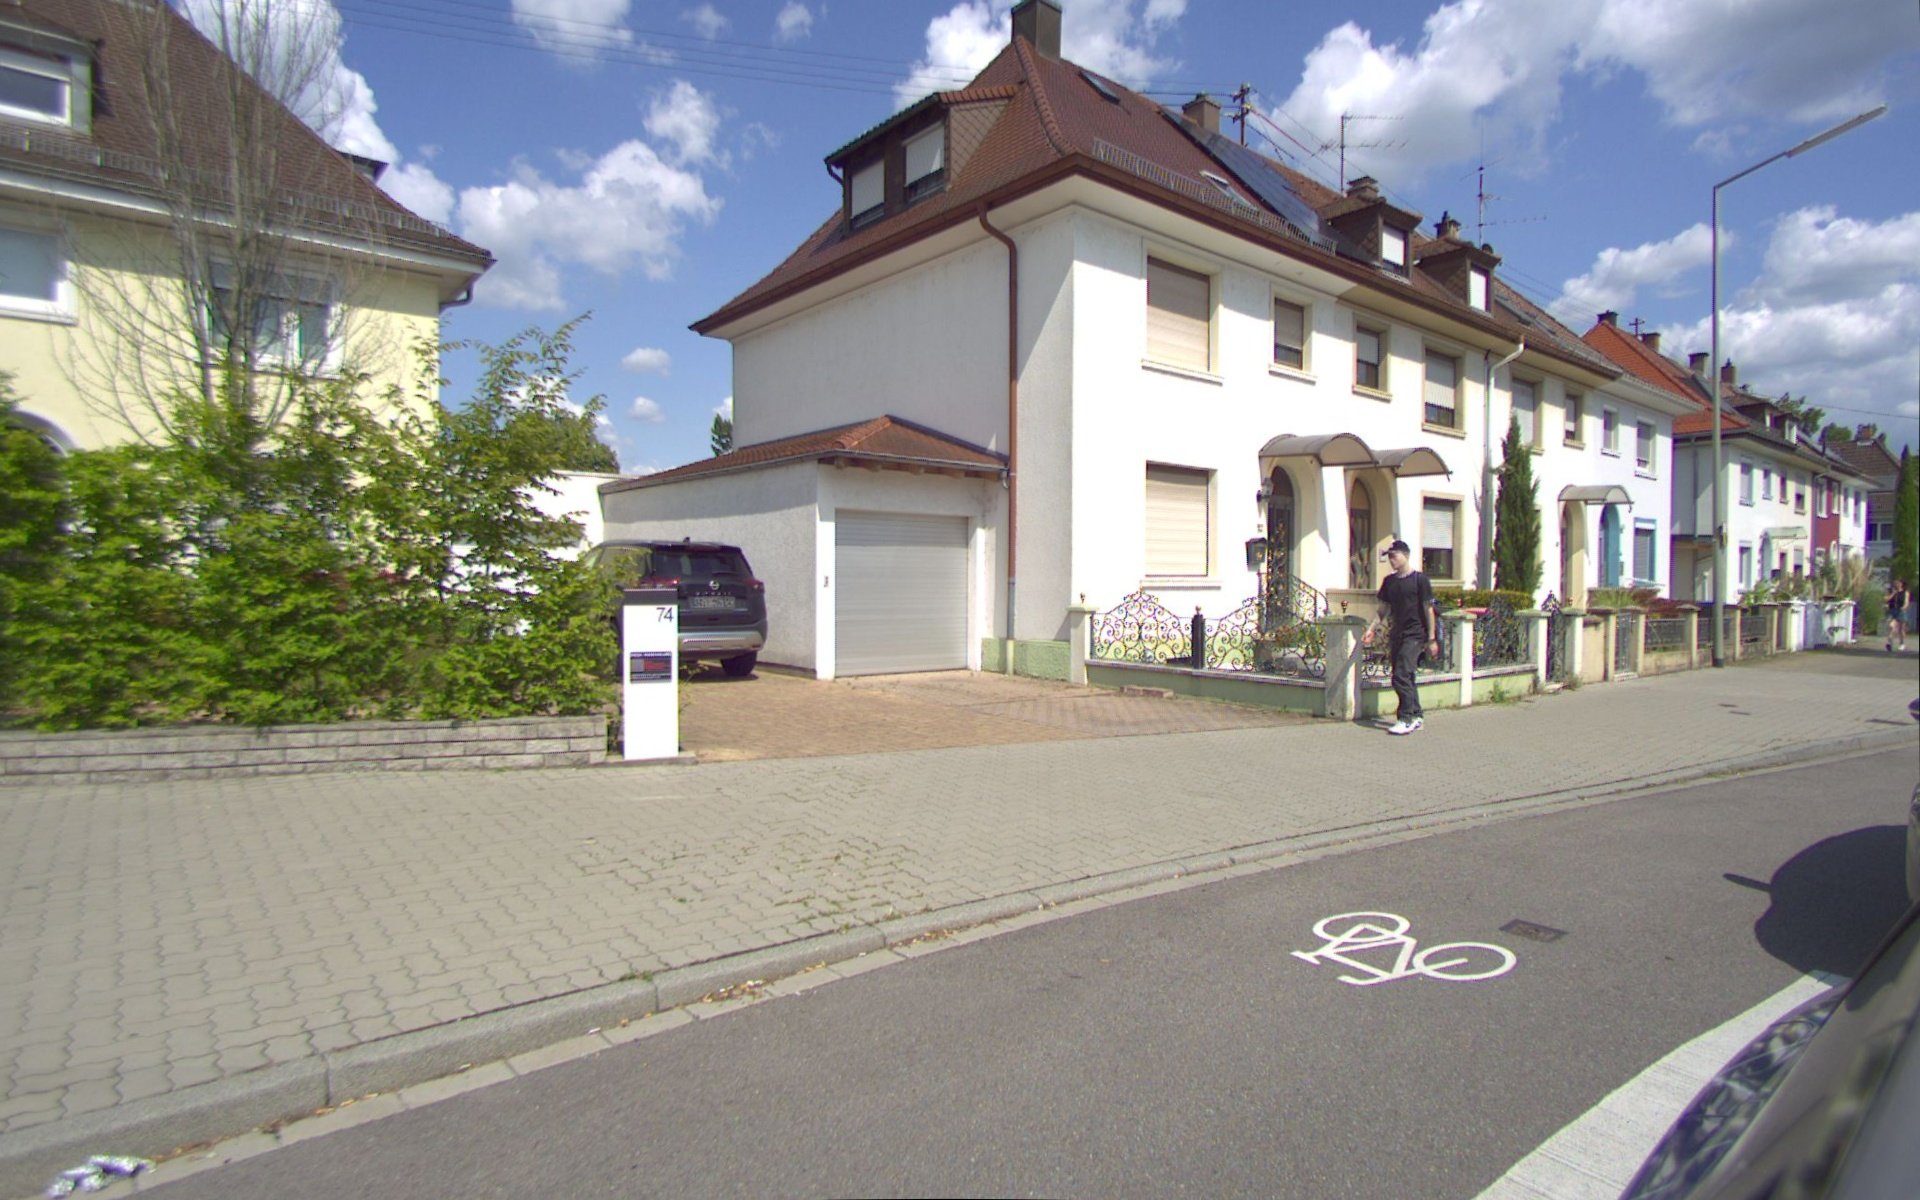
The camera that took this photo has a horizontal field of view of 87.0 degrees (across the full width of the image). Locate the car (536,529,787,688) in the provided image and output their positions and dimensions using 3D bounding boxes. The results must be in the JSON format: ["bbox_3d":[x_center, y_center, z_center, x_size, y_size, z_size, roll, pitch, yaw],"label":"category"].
[{"bbox_3d":[-4.020,0.045,13.178,1.833,1.729,3.998,0,1,-37],"label":"car"}]

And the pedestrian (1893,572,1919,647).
[{"bbox_3d":[22.390,0.209,23.820,0.607,1.732,0.519,0,1,-39],"label":"pedestrian"}]

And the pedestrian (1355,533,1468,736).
[{"bbox_3d":[4.218,0.294,9.453,0.921,1.790,0.592,0,1,-41],"label":"pedestrian"}]

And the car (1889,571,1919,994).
[{"bbox_3d":[5.626,0.651,4.535,4.607,1.492,1.764,0,1,-43],"label":"car"}]
